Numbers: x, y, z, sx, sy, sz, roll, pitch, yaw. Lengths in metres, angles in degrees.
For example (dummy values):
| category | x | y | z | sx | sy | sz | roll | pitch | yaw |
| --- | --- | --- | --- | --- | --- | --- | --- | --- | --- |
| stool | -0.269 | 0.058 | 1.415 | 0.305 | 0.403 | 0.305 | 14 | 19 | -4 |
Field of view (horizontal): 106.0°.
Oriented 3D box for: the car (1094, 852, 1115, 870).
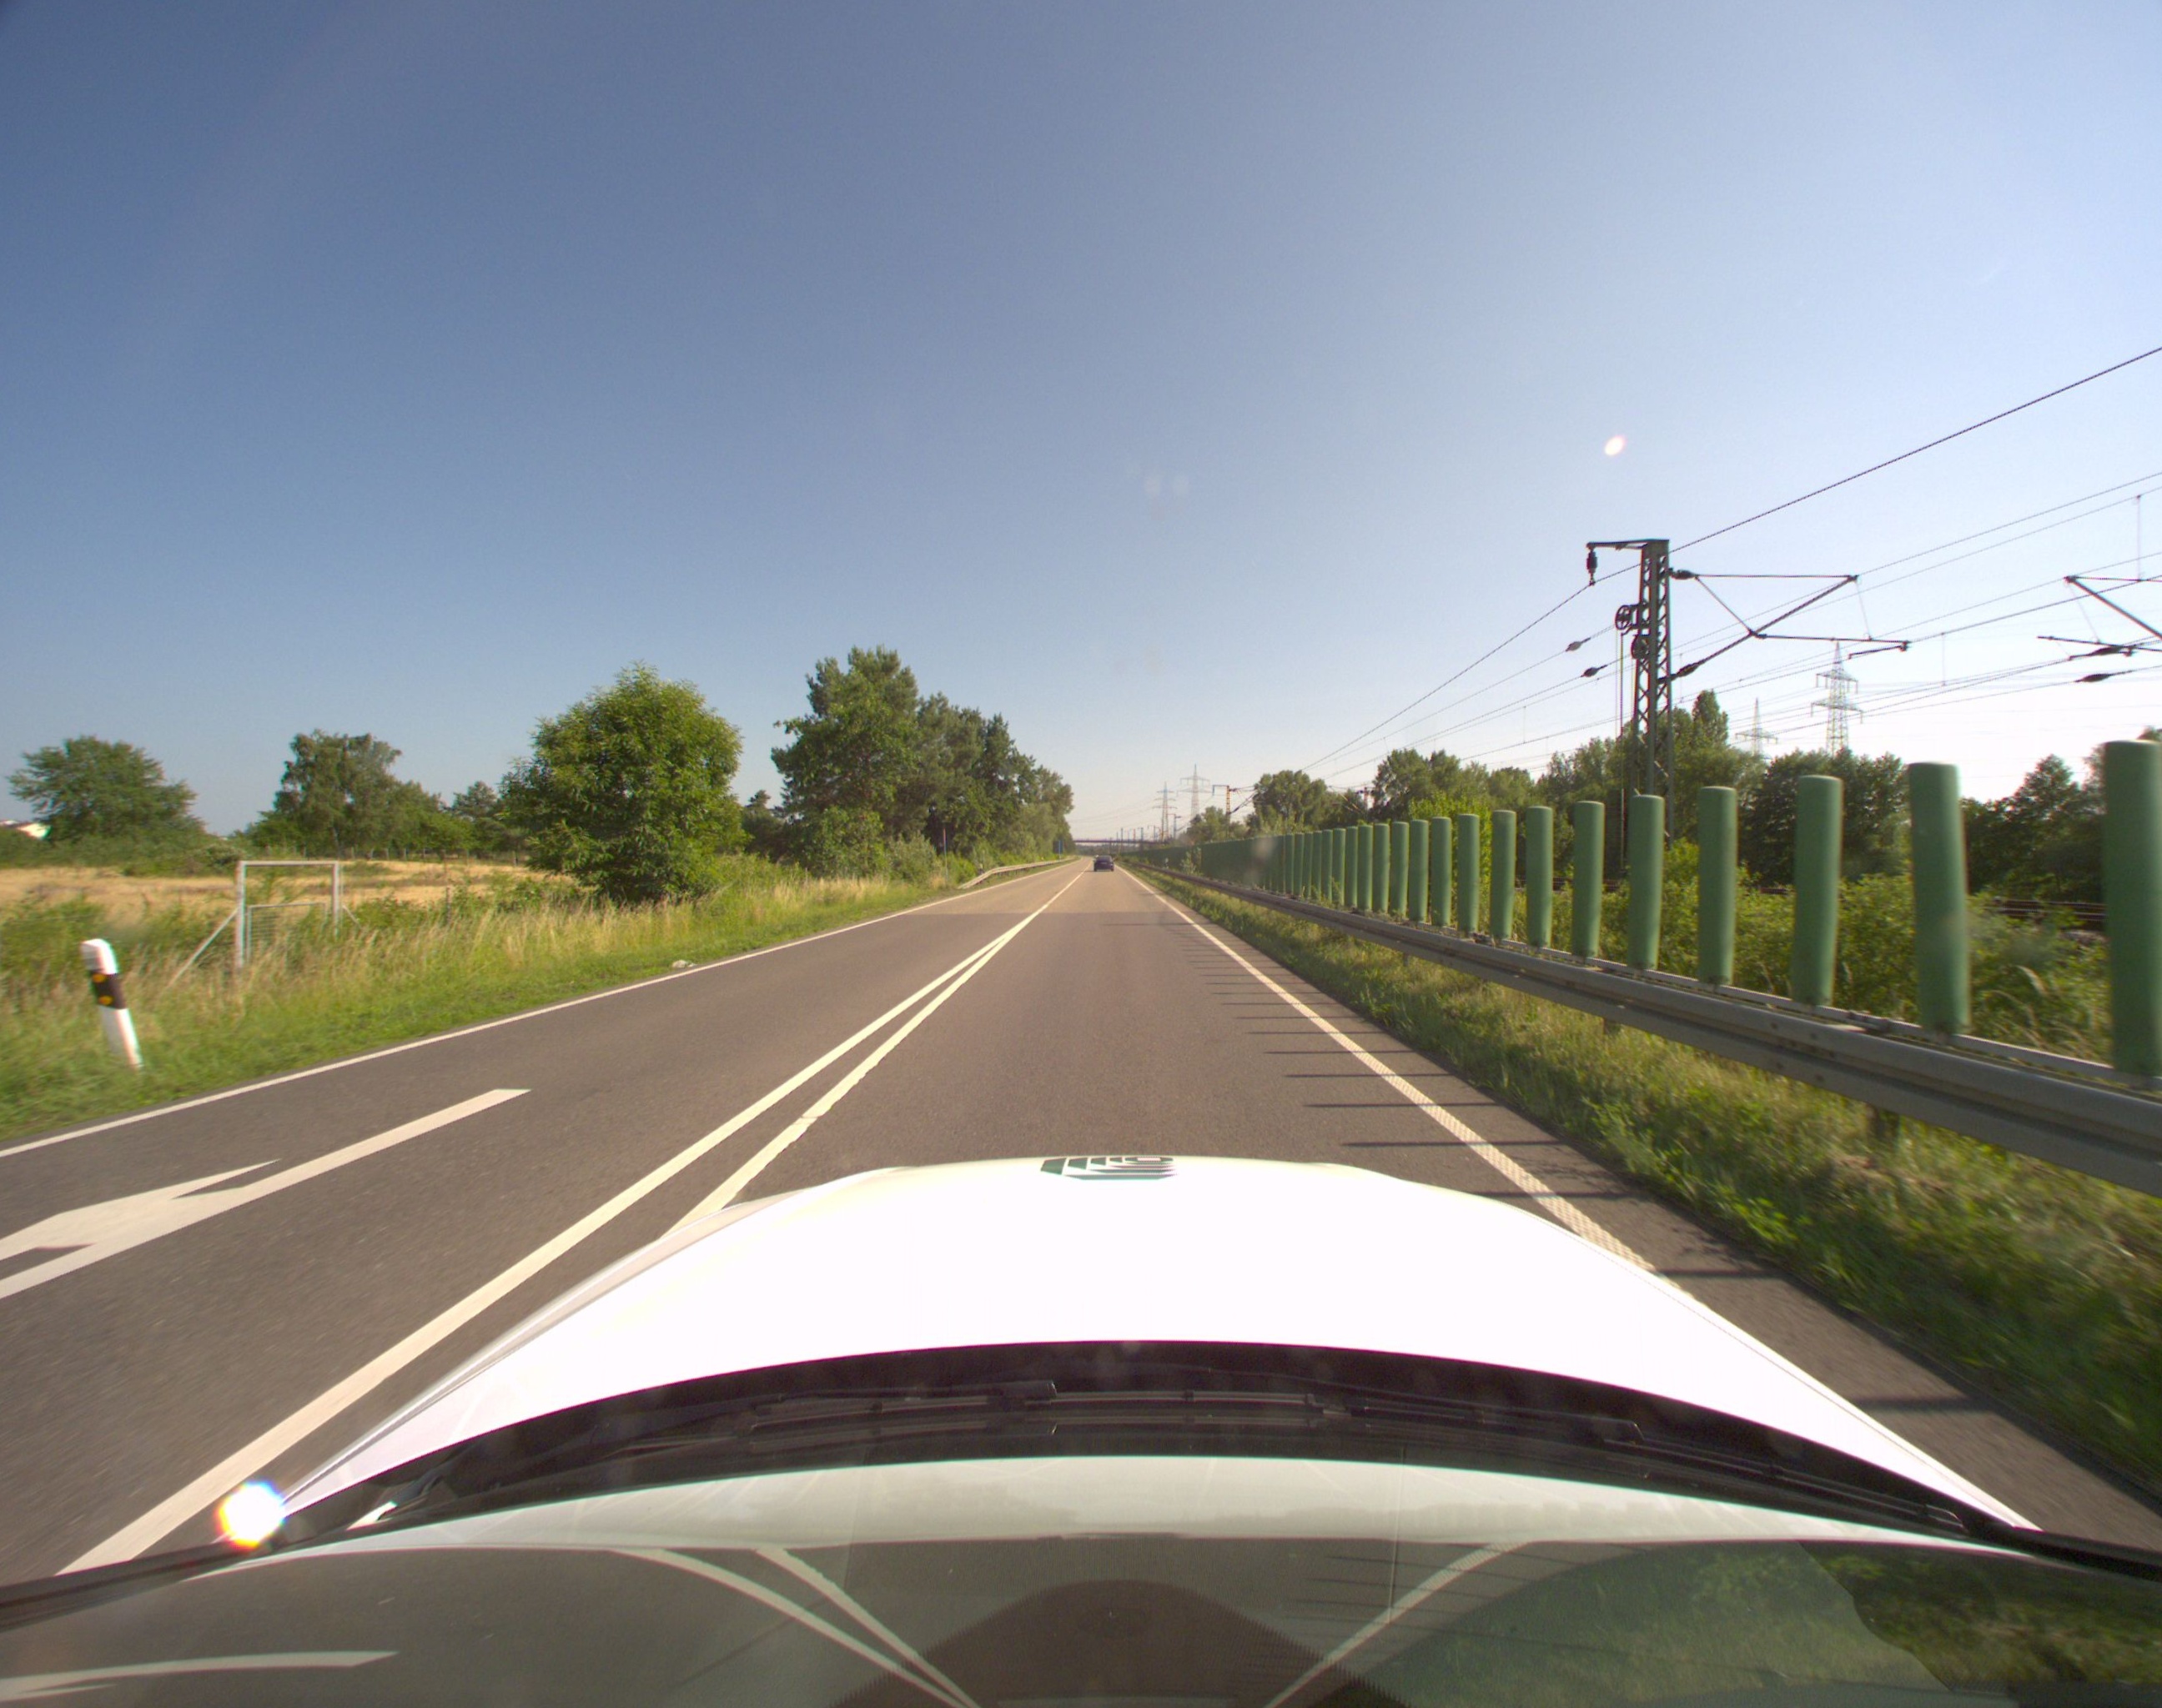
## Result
| category | x | y | z | sx | sy | sz | roll | pitch | yaw |
| --- | --- | --- | --- | --- | --- | --- | --- | --- | --- |
| car | 2.157 | 0.628 | 75.295 | 1.852 | 1.642 | 4.000 | -2 | 0 | 0 |
